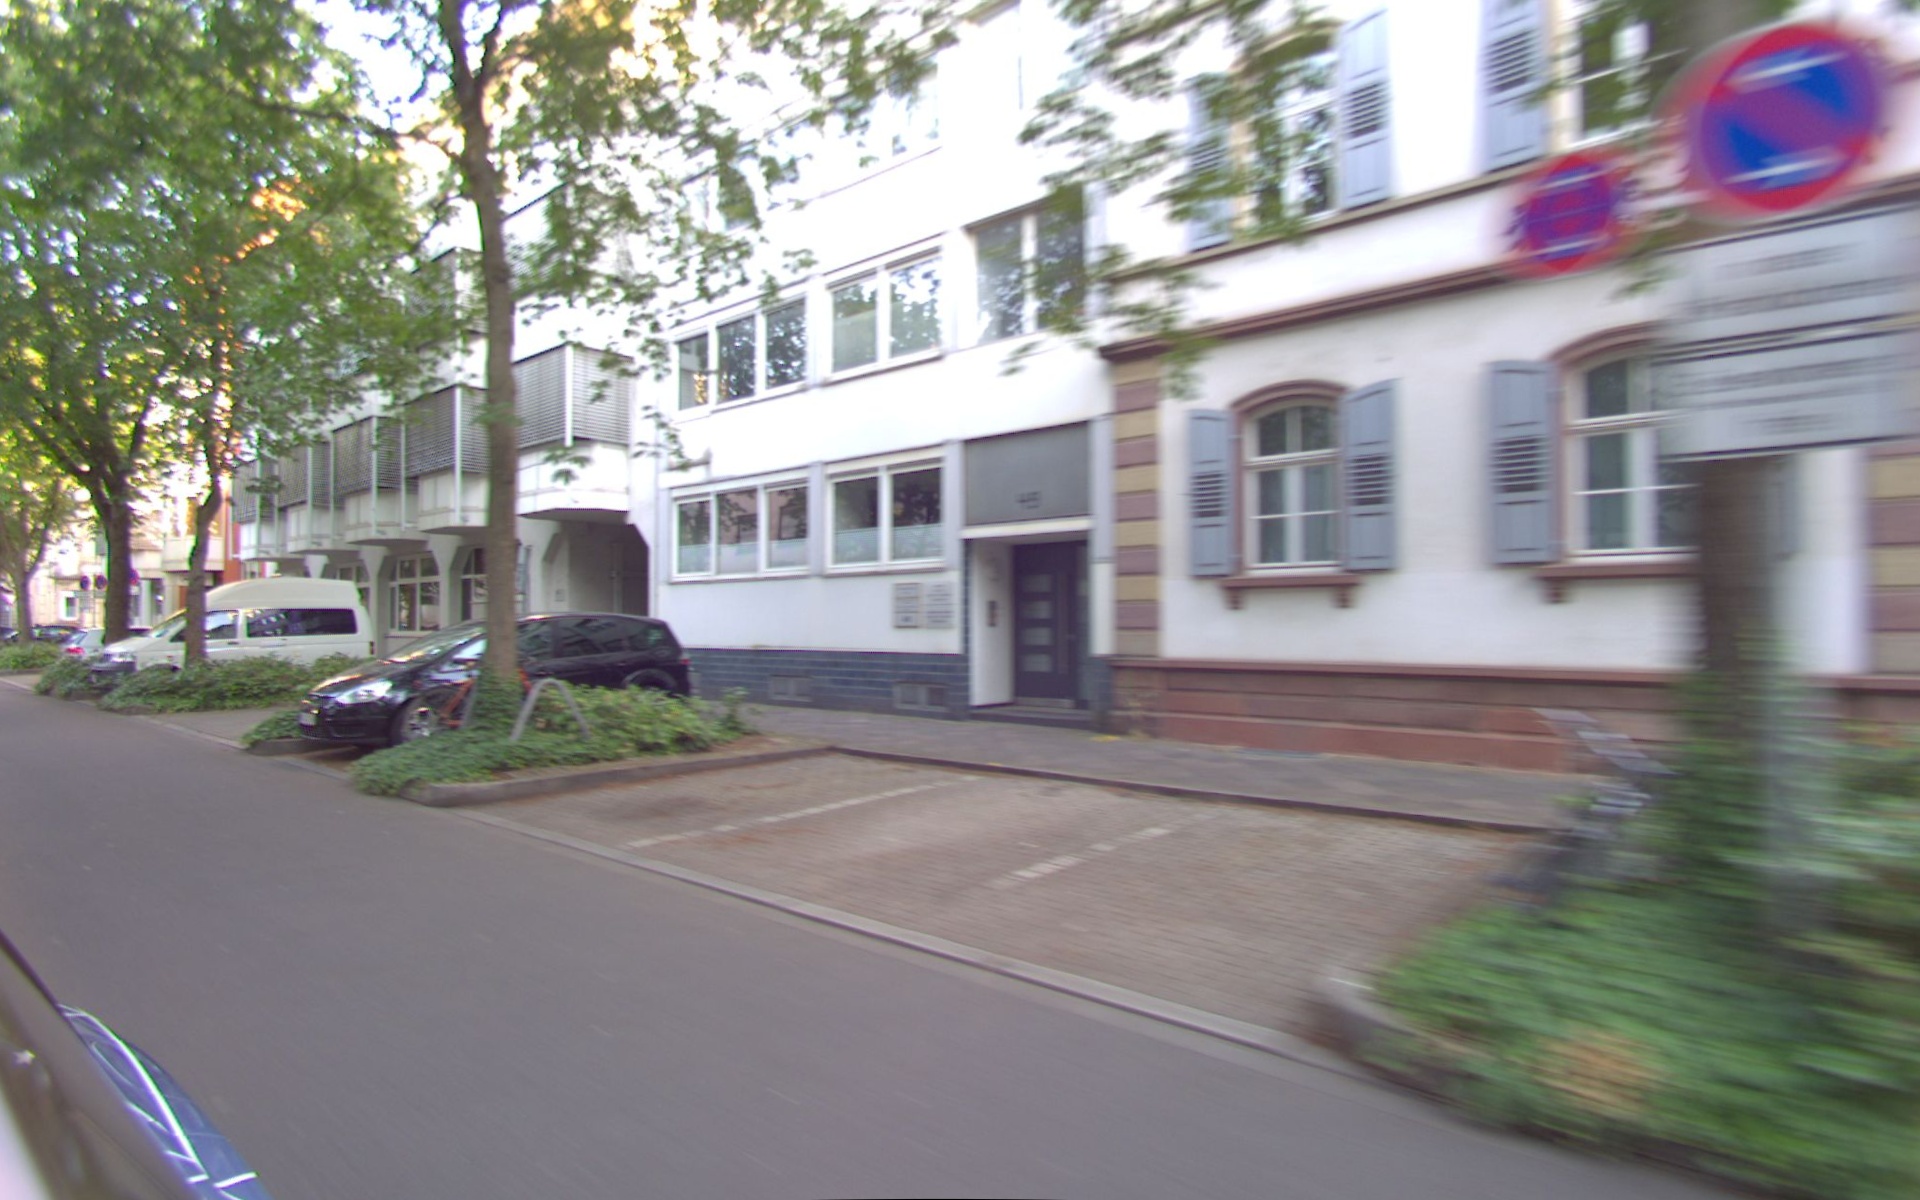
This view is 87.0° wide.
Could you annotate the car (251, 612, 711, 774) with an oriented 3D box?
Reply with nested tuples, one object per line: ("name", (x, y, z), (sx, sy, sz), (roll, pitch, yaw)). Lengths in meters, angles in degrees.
("car", (-5.804, 0.991, 12.782), (2.159, 1.634, 4.801), (-2, -2, 42))

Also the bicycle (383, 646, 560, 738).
("bicycle", (-5.014, 0.917, 10.445), (0.613, 0.837, 1.535), (-2, -2, 44))

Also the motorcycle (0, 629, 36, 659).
("motorcycle", (-48.310, 2.237, 51.125), (0.895, 1.481, 2.218), (-1, -2, 18))

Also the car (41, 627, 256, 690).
("car", (-21.188, 1.474, 26.540), (1.952, 1.480, 4.124), (-2, -2, 42))

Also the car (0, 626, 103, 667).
("car", (-37.032, 1.830, 40.116), (1.870, 1.537, 4.462), (-2, -2, 40))

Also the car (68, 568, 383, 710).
("car", (-15.079, 0.773, 21.042), (2.120, 2.592, 4.951), (-2, -2, 41))
